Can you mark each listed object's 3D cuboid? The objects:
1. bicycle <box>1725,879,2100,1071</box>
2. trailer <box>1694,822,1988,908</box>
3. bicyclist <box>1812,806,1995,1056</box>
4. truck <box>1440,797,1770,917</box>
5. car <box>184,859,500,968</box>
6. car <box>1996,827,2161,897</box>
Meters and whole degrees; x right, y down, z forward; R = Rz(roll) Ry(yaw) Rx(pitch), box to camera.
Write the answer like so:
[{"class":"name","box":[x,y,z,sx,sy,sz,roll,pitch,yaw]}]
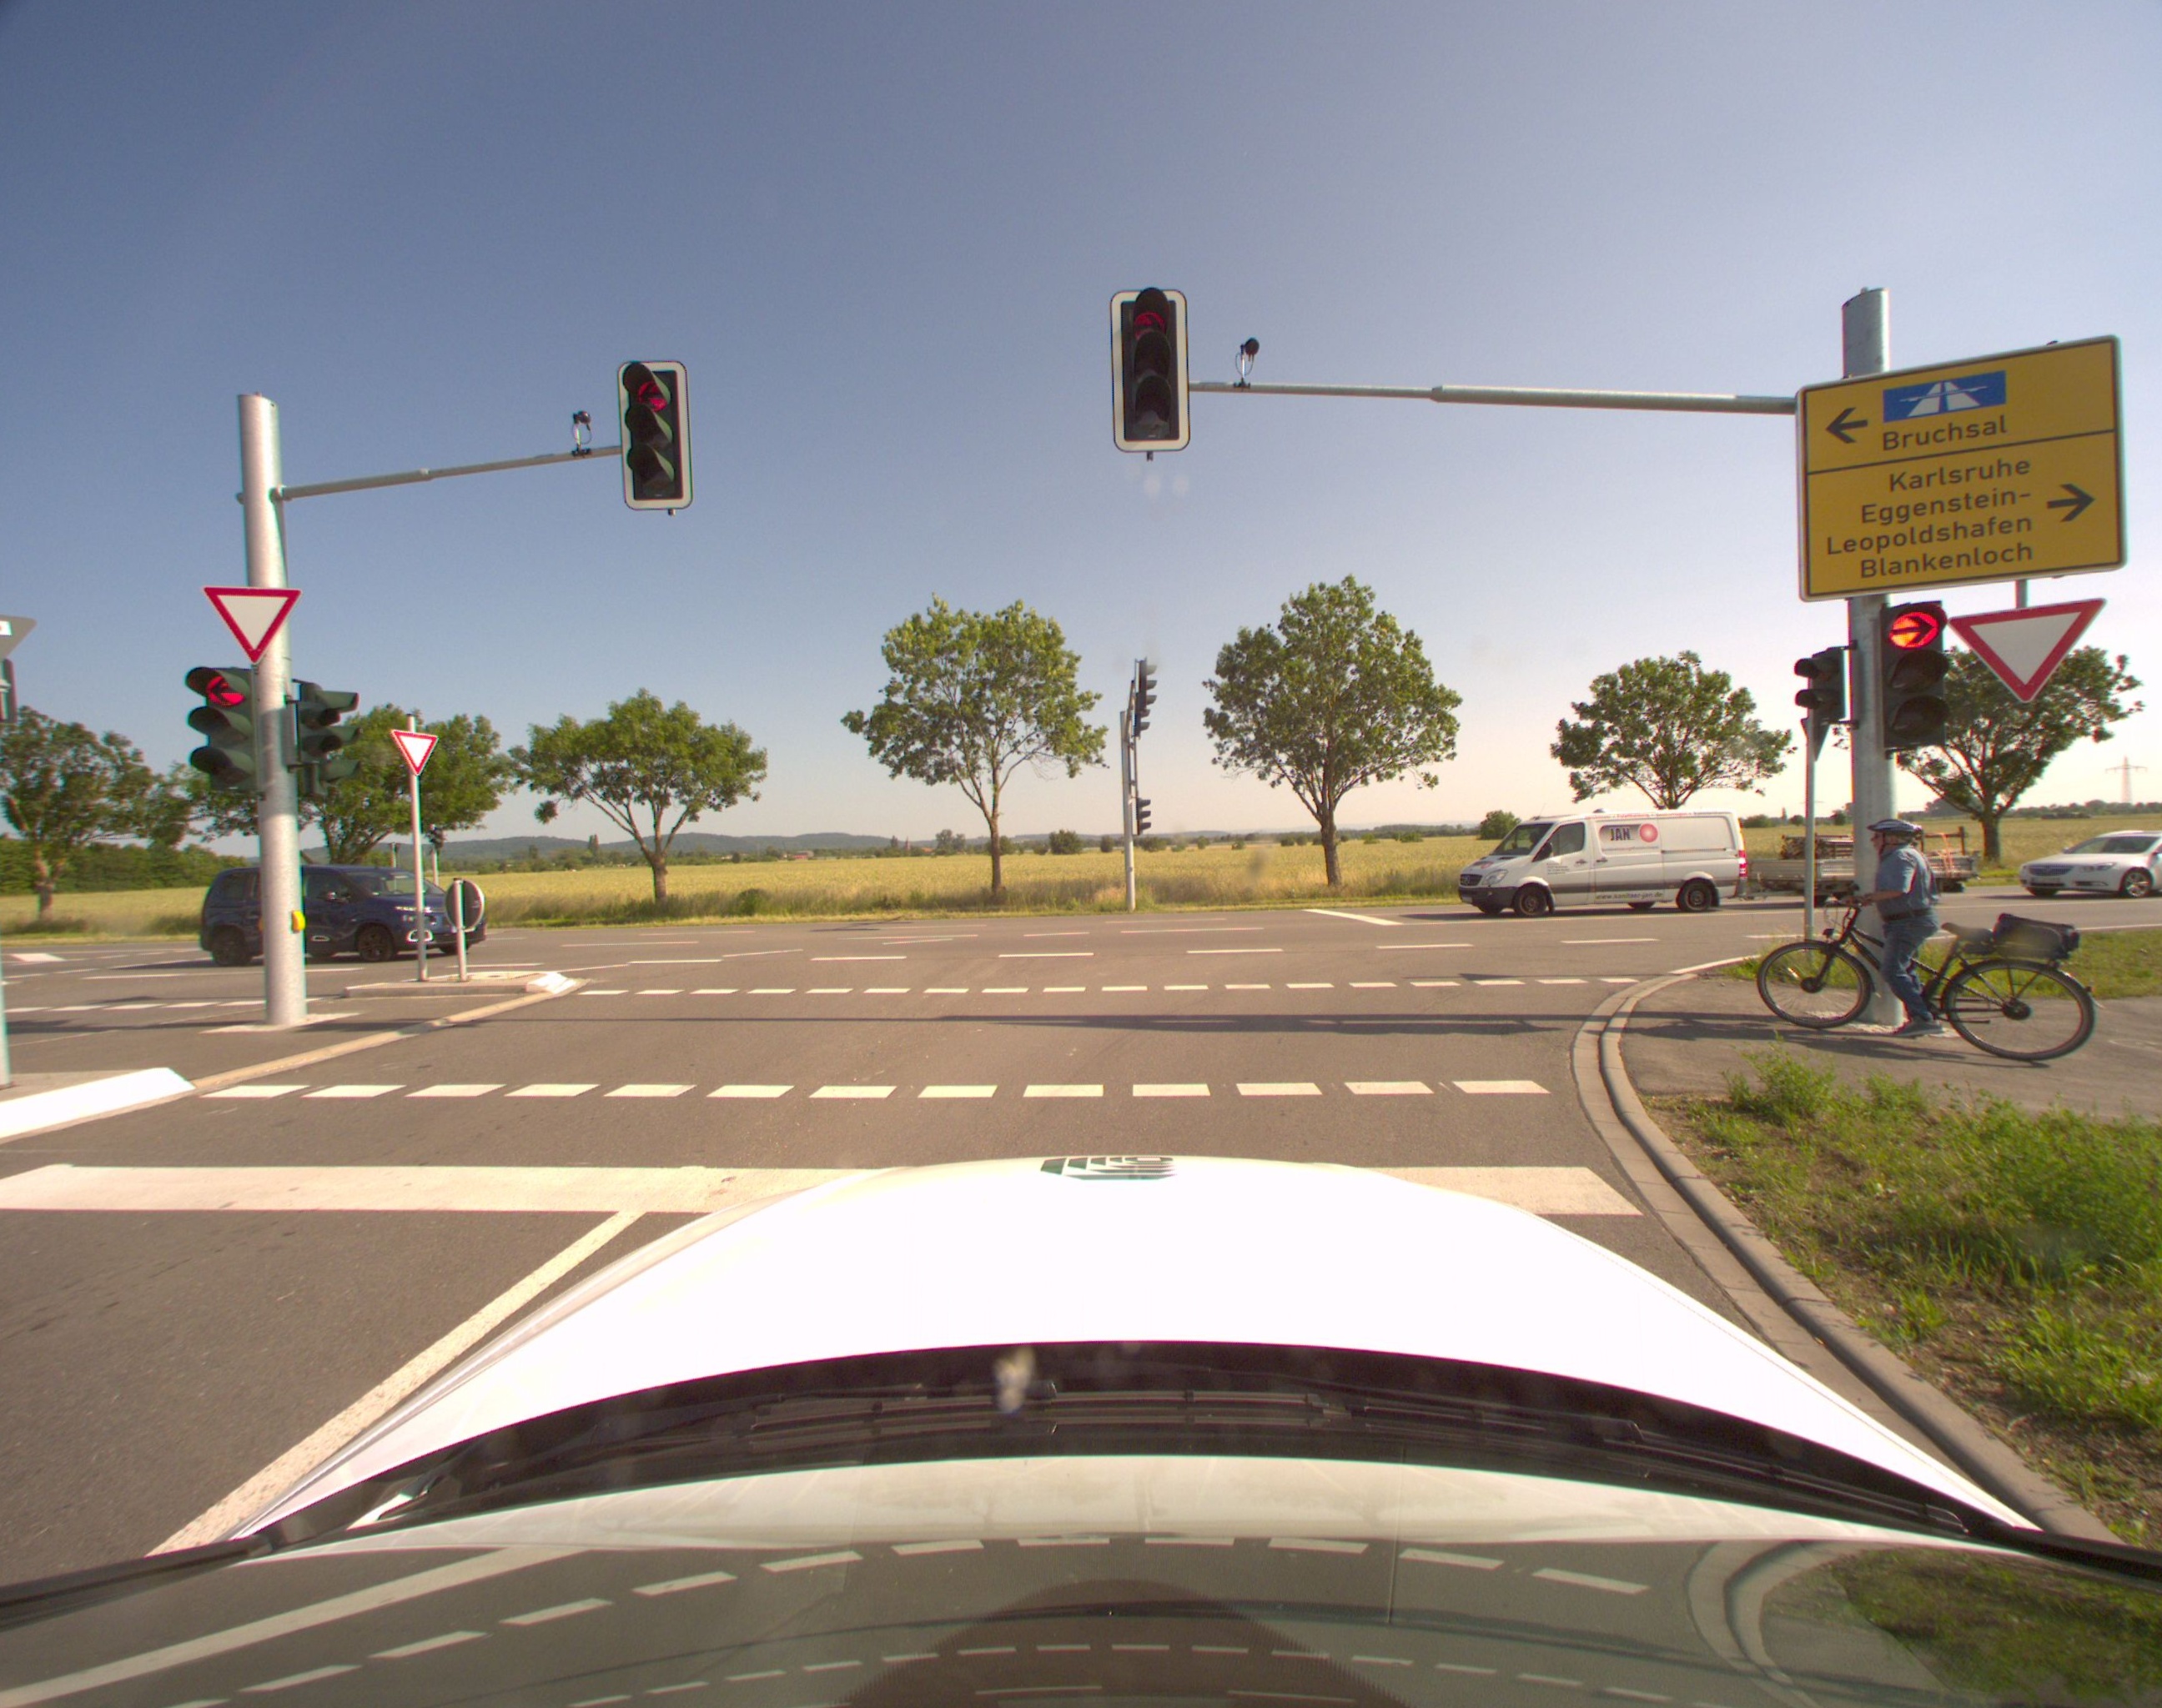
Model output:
[{"class":"bicycle","box":[6.280,0.828,6.304,0.685,1.151,1.922,0,2,-44]},{"class":"trailer","box":[17.378,0.245,18.796,4.981,1.738,1.980,-2,-1,-2]},{"class":"bicyclist","box":[6.313,0.528,6.282,0.623,1.765,0.906,0,1,-44]},{"class":"truck","box":[11.786,0.074,18.651,6.157,2.405,2.071,-2,-1,0]},{"class":"car","box":[-13.749,1.069,15.314,4.431,1.834,1.848,-2,-1,5]},{"class":"car","box":[24.573,0.136,18.964,4.682,1.492,1.763,-2,-1,-3]}]
